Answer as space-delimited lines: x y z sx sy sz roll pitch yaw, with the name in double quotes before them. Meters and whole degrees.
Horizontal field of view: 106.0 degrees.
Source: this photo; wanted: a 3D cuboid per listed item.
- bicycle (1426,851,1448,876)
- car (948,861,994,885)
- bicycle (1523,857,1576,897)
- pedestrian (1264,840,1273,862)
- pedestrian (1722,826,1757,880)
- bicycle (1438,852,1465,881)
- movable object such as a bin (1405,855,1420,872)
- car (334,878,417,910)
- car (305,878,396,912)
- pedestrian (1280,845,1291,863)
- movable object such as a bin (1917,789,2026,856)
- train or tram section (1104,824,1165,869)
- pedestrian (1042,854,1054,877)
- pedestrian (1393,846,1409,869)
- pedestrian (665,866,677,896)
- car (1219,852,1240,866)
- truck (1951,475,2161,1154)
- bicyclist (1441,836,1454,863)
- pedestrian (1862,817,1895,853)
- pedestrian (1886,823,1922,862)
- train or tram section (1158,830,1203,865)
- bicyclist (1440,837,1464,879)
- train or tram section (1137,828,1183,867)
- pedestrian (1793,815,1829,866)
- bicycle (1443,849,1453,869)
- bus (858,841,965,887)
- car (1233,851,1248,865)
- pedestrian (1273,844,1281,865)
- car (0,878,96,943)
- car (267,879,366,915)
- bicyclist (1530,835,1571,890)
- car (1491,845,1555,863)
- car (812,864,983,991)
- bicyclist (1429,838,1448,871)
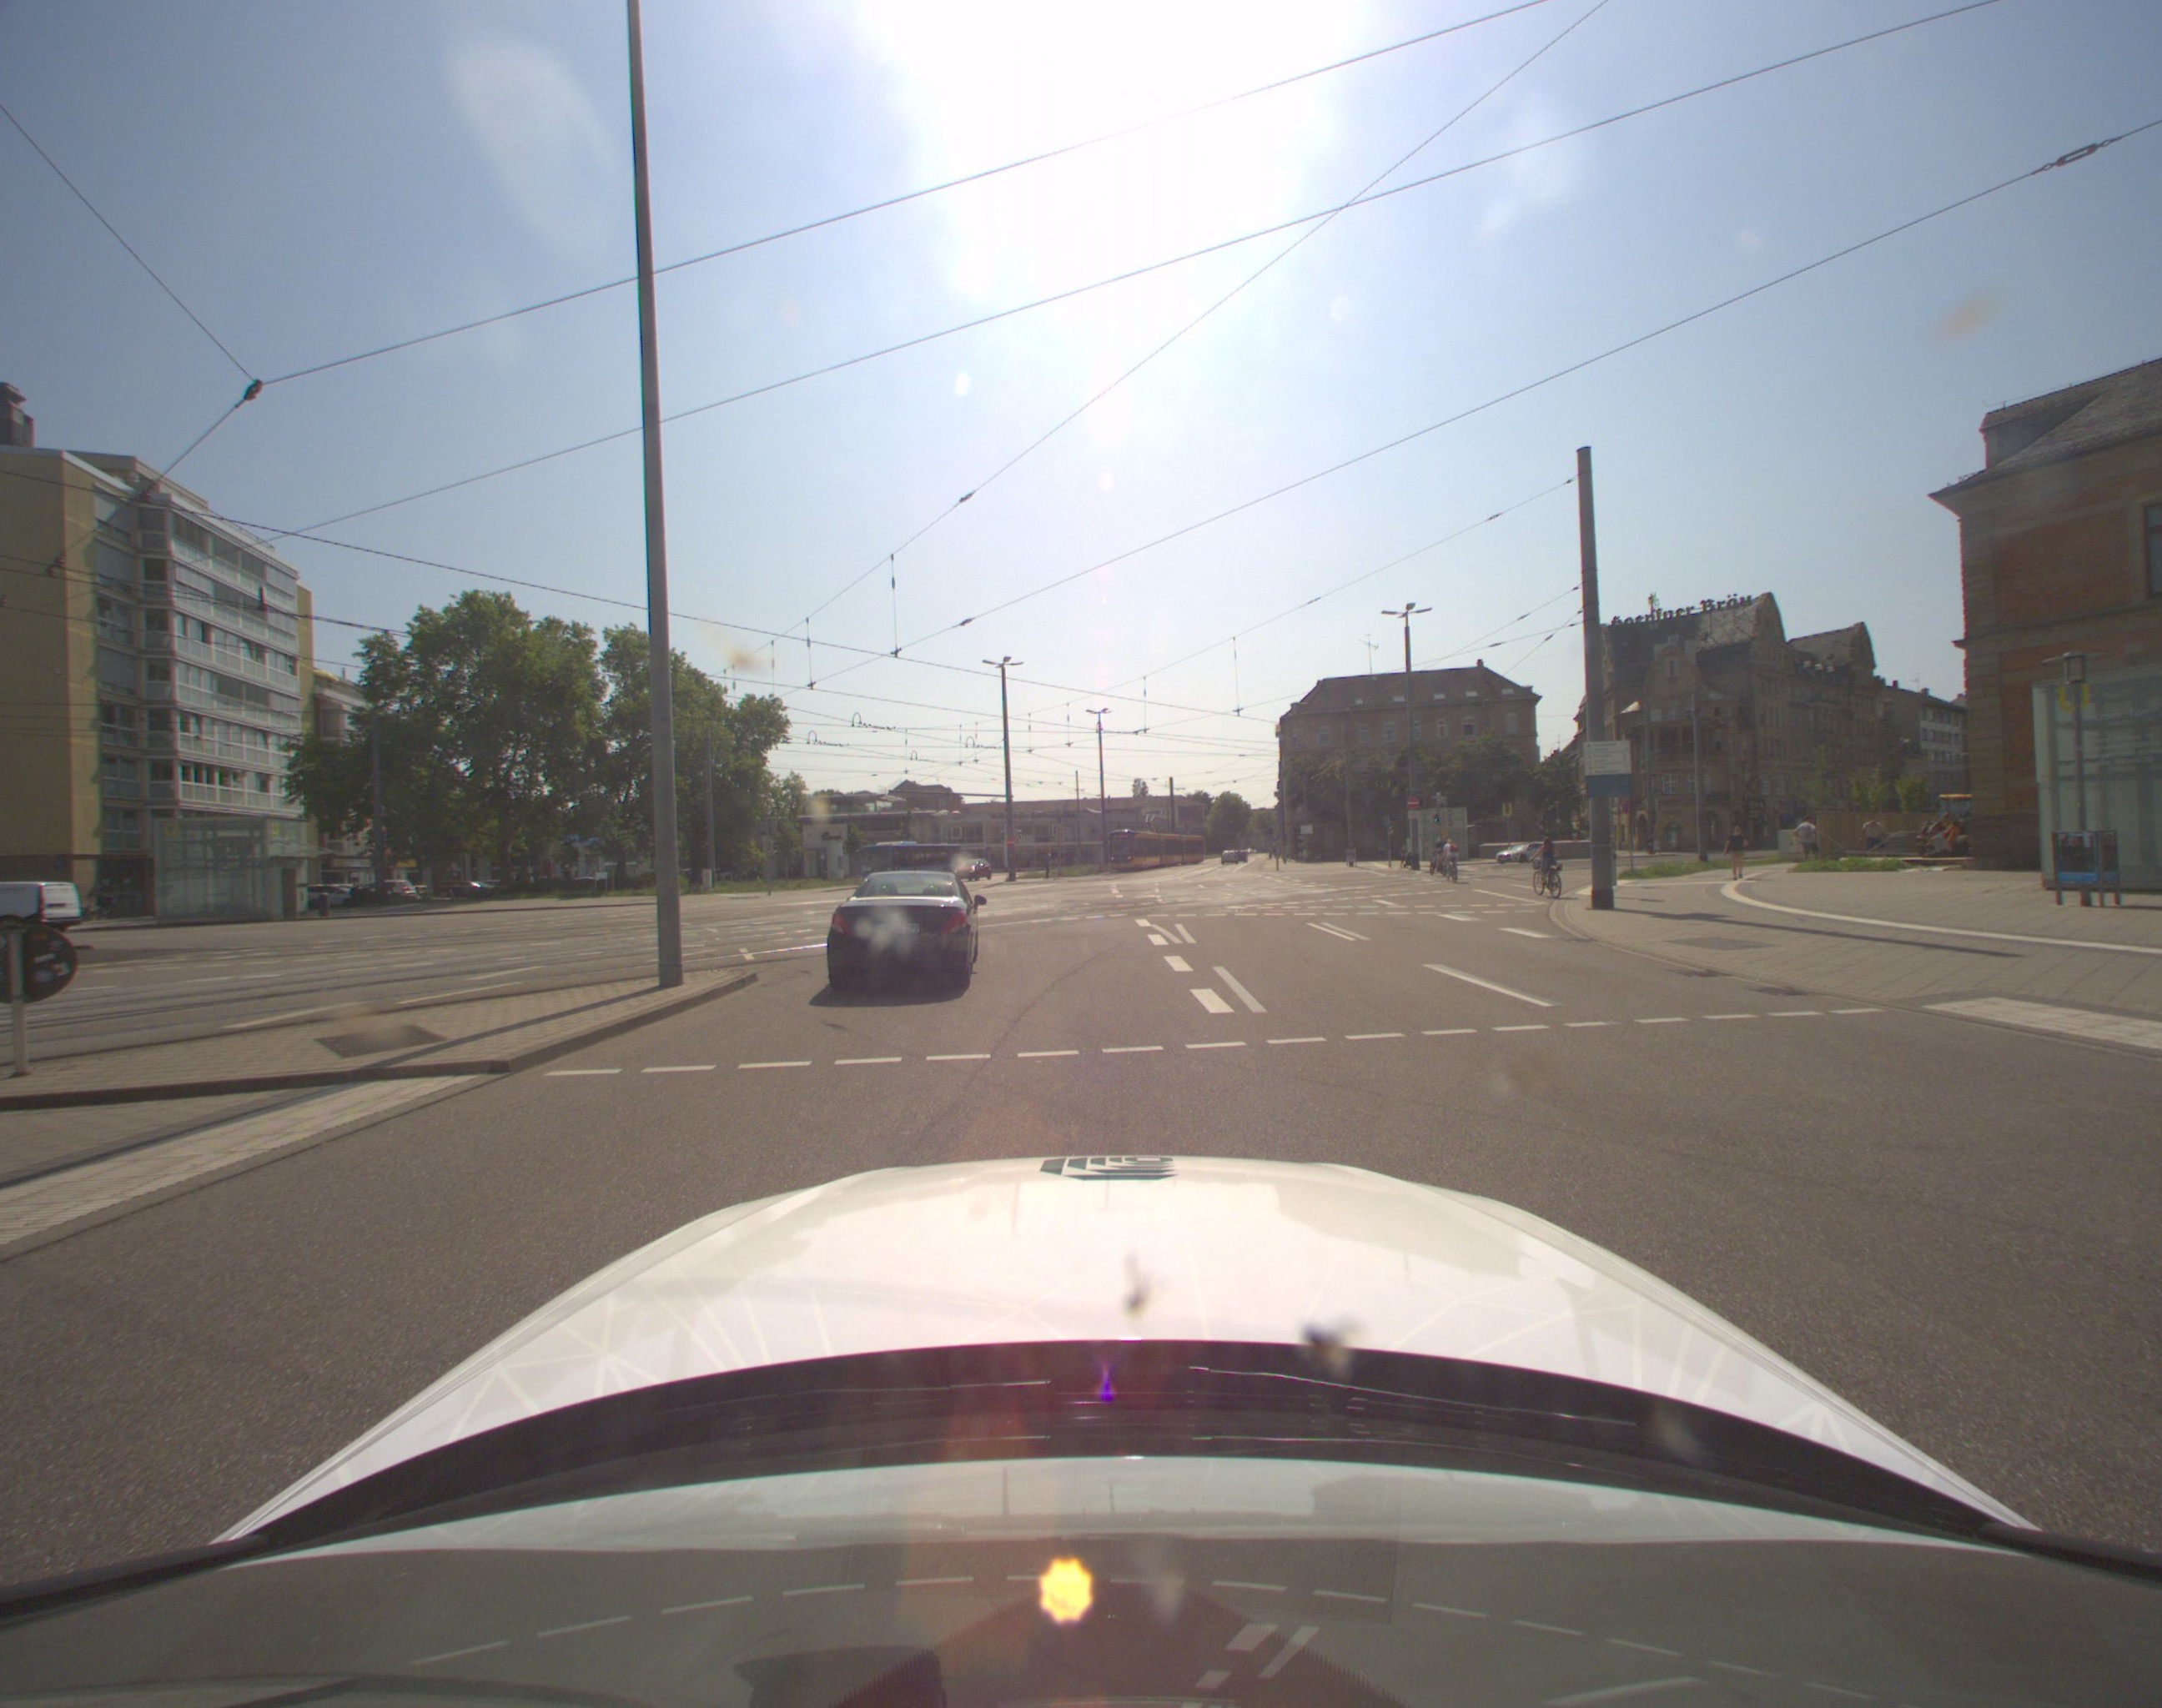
"bicycle" 15.954 0.409 36.534 0.533 1.055 1.658 -2 0 11
"car" -7.878 1.368 58.520 1.736 1.552 4.018 -2 0 17
"bicycle" 13.202 0.627 22.993 0.490 1.055 1.824 -2 0 3
"pedestrian" 25.985 -0.417 112.985 0.979 3.017 0.976 -2 0 4
"pedestrian" 19.974 -0.029 24.705 0.729 1.575 0.794 -3 -1 43
"bicycle" 14.026 0.464 30.887 0.533 1.055 1.658 -2 0 11
"movable object such as a bin" 22.177 0.649 54.499 0.513 1.077 0.808 -2 -1 -27
"car" -50.149 2.790 57.970 3.998 2.013 1.919 -2 0 -19
"car" -48.579 2.706 54.253 3.998 2.013 1.919 -2 0 -19
"pedestrian" 18.545 0.032 73.862 0.699 1.603 0.571 -2 0 -9
"movable object such as a bin" 33.851 -1.106 30.923 5.580 2.311 1.942 0 -1 -34
"train or tram section" 4.776 -0.609 69.998 2.568 3.516 10.947 -2 0 17
"pedestrian" -2.172 0.763 54.079 0.678 1.443 0.364 -2 0 -19
"pedestrian" 21.731 0.239 55.258 0.530 1.545 0.845 -2 -1 -25
"pedestrian" -23.546 1.537 46.782 0.555 1.684 0.451 -2 -1 -20
"car" 16.169 0.500 88.777 1.756 1.415 4.207 -2 0 17
"truck" 6.213 -0.229 1.185 2.484 3.135 6.860 -2 0 0
"bicyclist" 20.749 -0.252 46.057 0.606 1.529 0.524 -2 0 24
"pedestrian" 28.052 -0.663 28.664 0.658 1.214 0.530 -2 -1 26
"pedestrian" 29.731 -0.415 29.419 0.769 1.399 0.686 -2 -1 -27
"train or tram section" 11.231 -0.672 90.812 2.568 3.516 13.031 -2 0 17
"bicyclist" 13.928 0.146 30.589 0.623 1.517 0.714 -2 -1 10
"train or tram section" 7.853 -0.626 79.906 2.568 3.516 9.701 -2 0 16
"pedestrian" 25.085 -0.457 27.998 0.550 1.724 0.811 -1 -1 -43
"bicycle" 20.693 0.277 45.924 0.465 1.055 1.663 -2 0 24
"bus" -12.466 0.661 61.508 2.543 3.083 12.072 -2 0 15
"car" 19.114 0.493 97.805 1.626 1.618 4.012 -2 0 11
"pedestrian" 29.086 0.074 120.991 0.979 3.017 0.976 -2 0 5
"car" -36.196 1.916 26.619 4.630 2.013 1.985 -2 0 -23
"car" -47.626 2.643 50.809 3.998 2.013 1.919 -2 0 -19
"bicyclist" 13.192 0.239 22.875 0.731 1.517 0.664 -2 -1 3
"car" 30.714 0.001 56.640 4.009 1.090 1.982 -2 0 -27
"car" -2.313 0.852 11.153 1.763 1.388 3.774 0 0 -5
"bicyclist" 15.877 0.021 36.197 0.527 1.393 0.896 -2 -1 11
